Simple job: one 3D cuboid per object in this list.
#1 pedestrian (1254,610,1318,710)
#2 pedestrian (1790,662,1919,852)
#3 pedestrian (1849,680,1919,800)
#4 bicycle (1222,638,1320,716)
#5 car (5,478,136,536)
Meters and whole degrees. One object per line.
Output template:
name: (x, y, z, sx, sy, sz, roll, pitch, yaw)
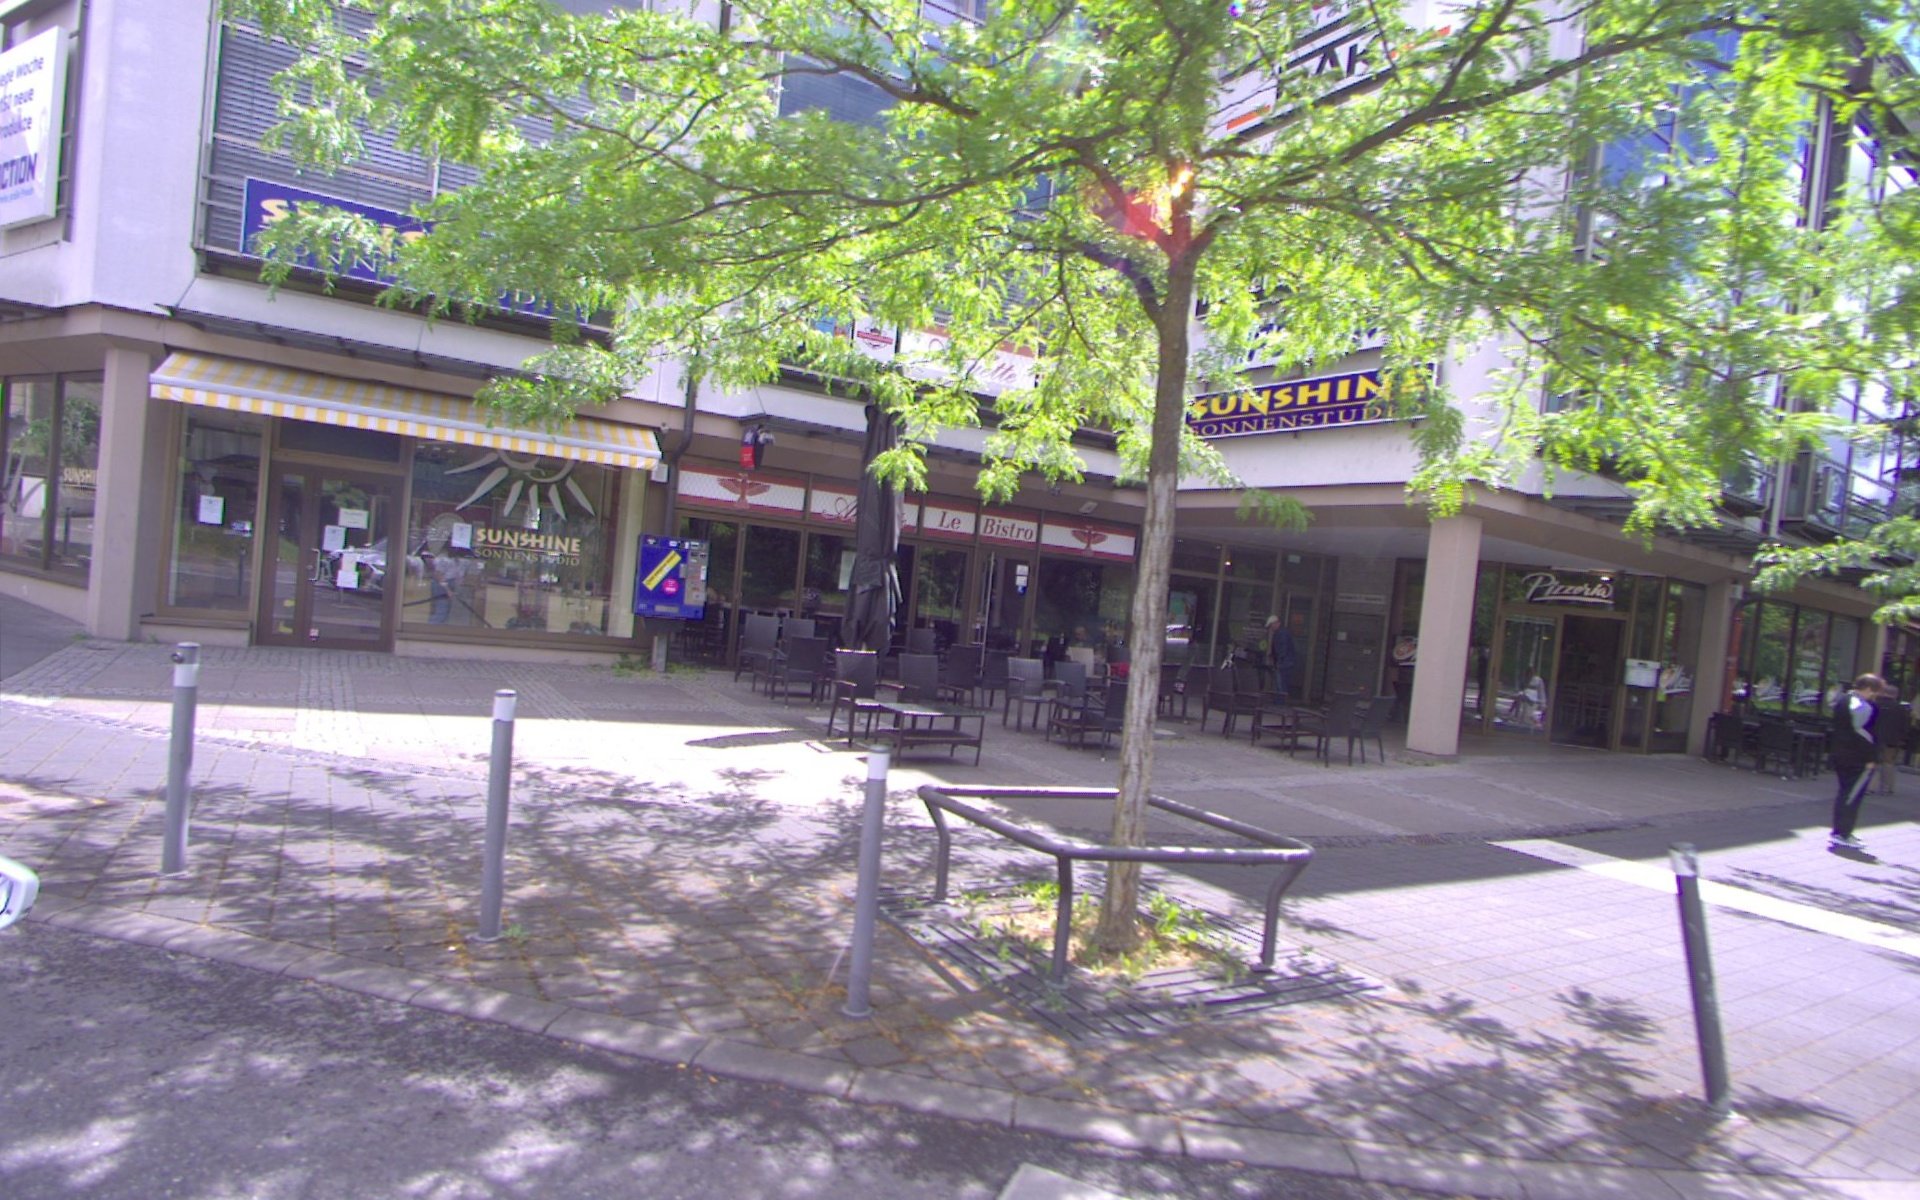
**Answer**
pedestrian: (5.909, 1.088, 18.247, 0.691, 1.696, 0.611, 6, 2, -36)
pedestrian: (9.380, 1.621, 10.541, 0.610, 1.843, 0.692, 5, 3, -30)
pedestrian: (14.056, 2.113, 15.301, 0.609, 1.696, 0.694, 9, 2, 42)
bicycle: (5.618, 1.377, 18.238, 1.514, 1.182, 0.496, 8, 1, 8)
car: (-29.279, -3.009, 33.286, 1.804, 1.539, 4.211, 5, 1, -21)
